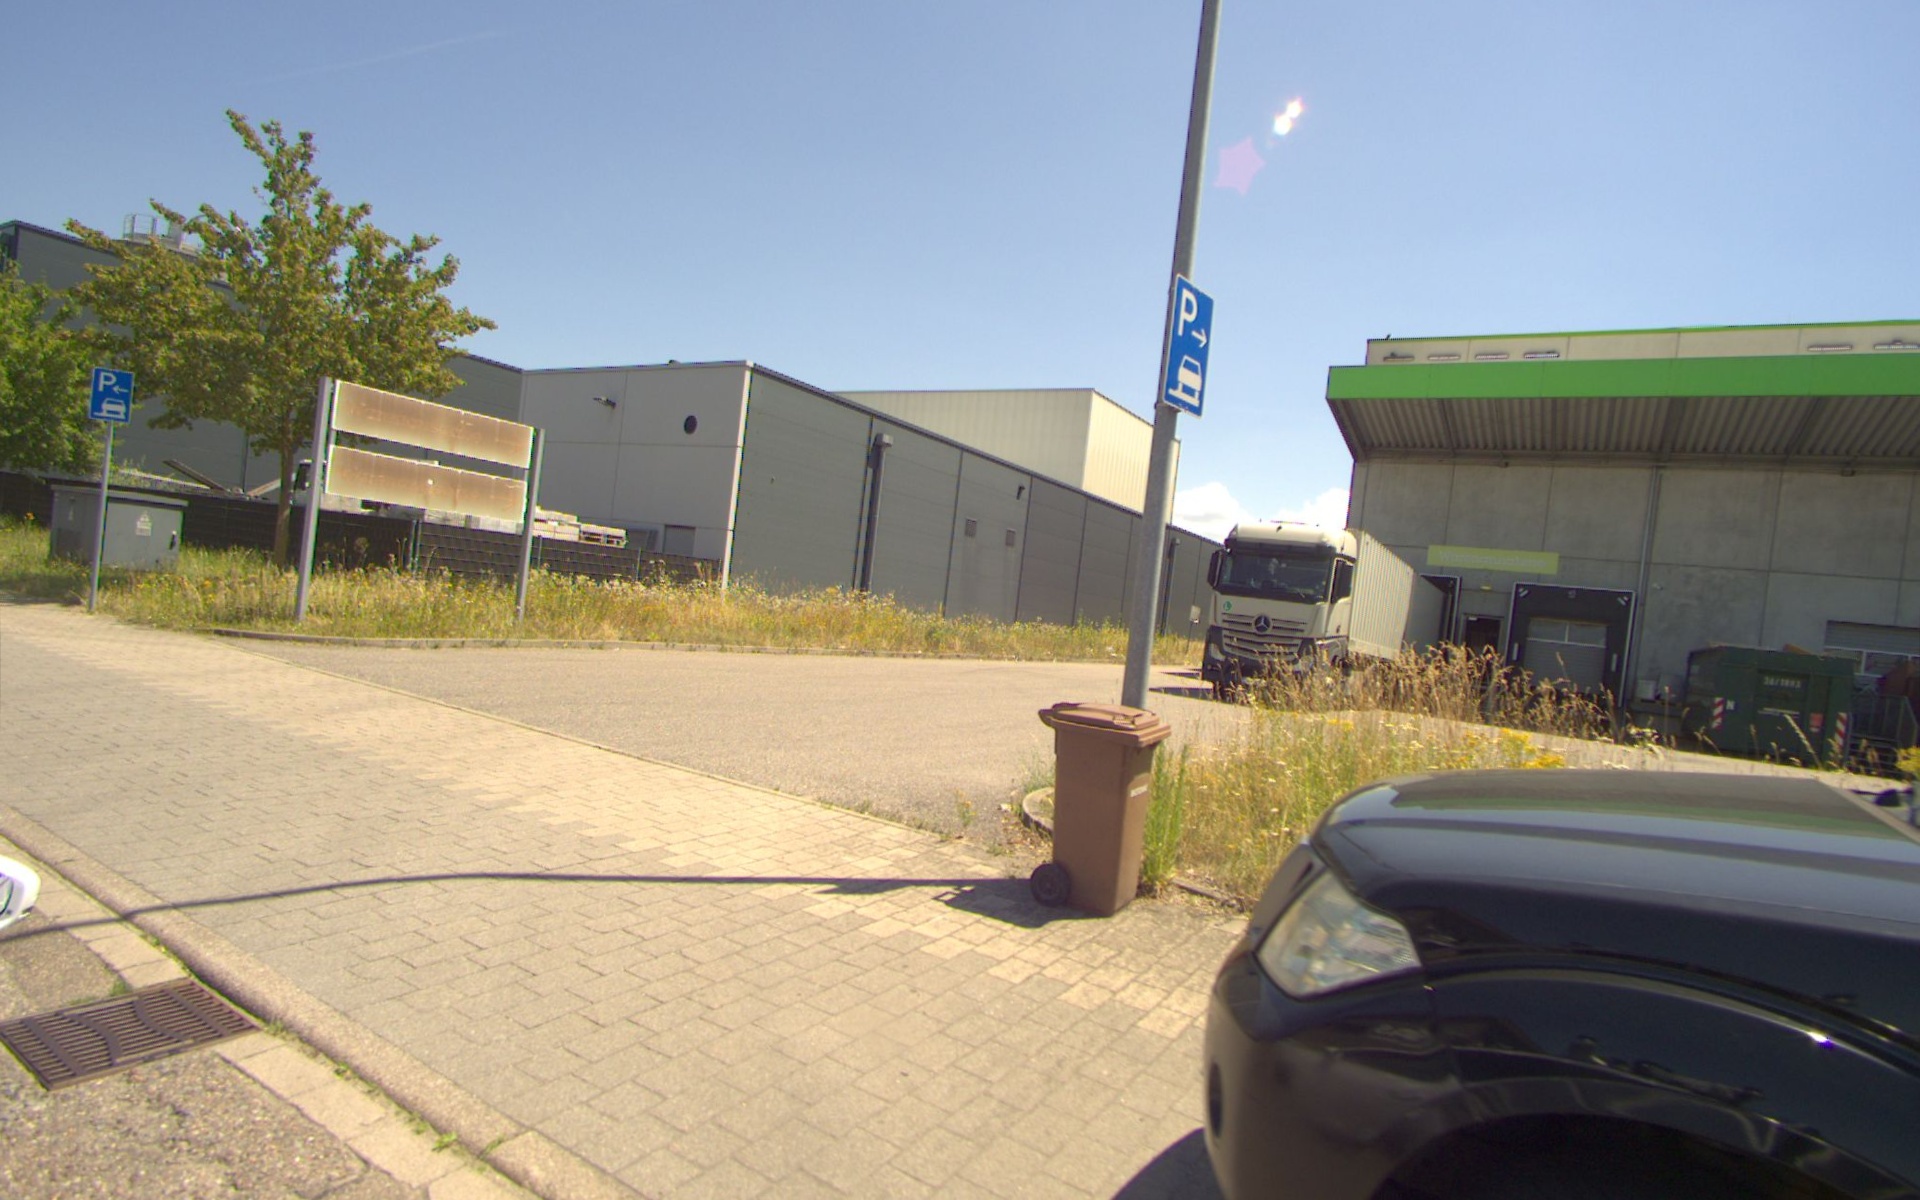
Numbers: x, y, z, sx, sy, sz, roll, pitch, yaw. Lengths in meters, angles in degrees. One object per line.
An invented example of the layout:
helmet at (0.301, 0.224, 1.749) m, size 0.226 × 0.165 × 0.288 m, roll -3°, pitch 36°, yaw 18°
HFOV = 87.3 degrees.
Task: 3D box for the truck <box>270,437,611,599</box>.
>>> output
truck at (-16.075, -2.299, 32.449) m, size 2.981 × 3.870 × 10.004 m, roll 7°, pitch 0°, yaw 22°

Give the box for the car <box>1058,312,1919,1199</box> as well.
car at (2.872, 0.802, 1.236) m, size 5.071 × 1.909 × 1.994 m, roll 7°, pitch 1°, yaw 33°

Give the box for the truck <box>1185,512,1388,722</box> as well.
truck at (7.318, 0.443, 22.106) m, size 2.758 × 3.923 × 5.067 m, roll 6°, pitch 0°, yaw 32°

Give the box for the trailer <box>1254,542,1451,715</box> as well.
trailer at (11.986, 1.077, 29.584) m, size 2.758 × 3.922 × 12.631 m, roll 6°, pitch -1°, yaw 32°
